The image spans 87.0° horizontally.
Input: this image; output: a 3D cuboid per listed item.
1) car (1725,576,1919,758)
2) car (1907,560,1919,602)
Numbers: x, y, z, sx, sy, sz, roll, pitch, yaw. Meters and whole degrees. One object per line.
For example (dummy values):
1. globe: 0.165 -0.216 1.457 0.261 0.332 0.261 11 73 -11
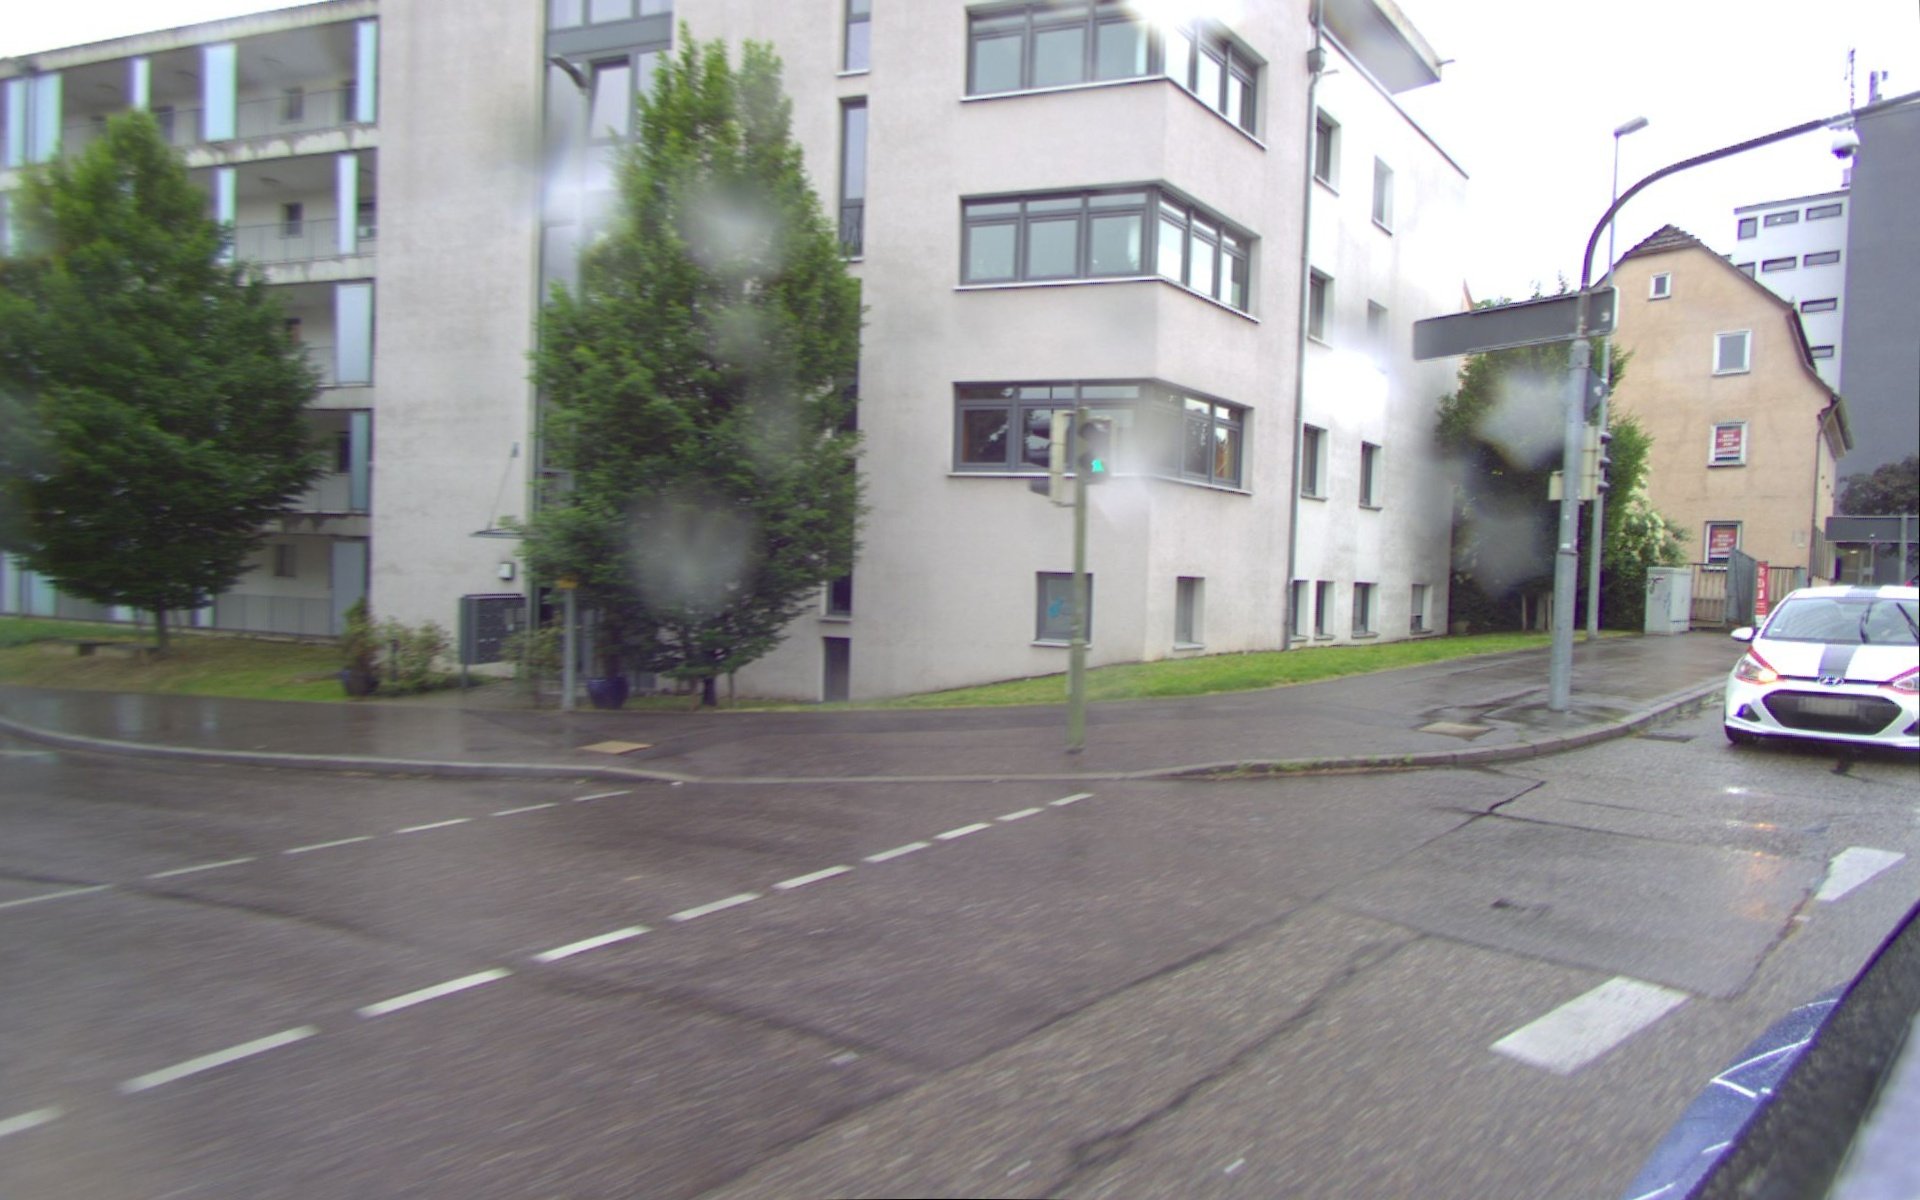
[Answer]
1. car: 9.004 0.520 9.906 3.698 1.471 1.709 -2 1 -41
2. car: 38.880 -0.586 38.042 1.683 1.591 4.433 -1 5 -18
